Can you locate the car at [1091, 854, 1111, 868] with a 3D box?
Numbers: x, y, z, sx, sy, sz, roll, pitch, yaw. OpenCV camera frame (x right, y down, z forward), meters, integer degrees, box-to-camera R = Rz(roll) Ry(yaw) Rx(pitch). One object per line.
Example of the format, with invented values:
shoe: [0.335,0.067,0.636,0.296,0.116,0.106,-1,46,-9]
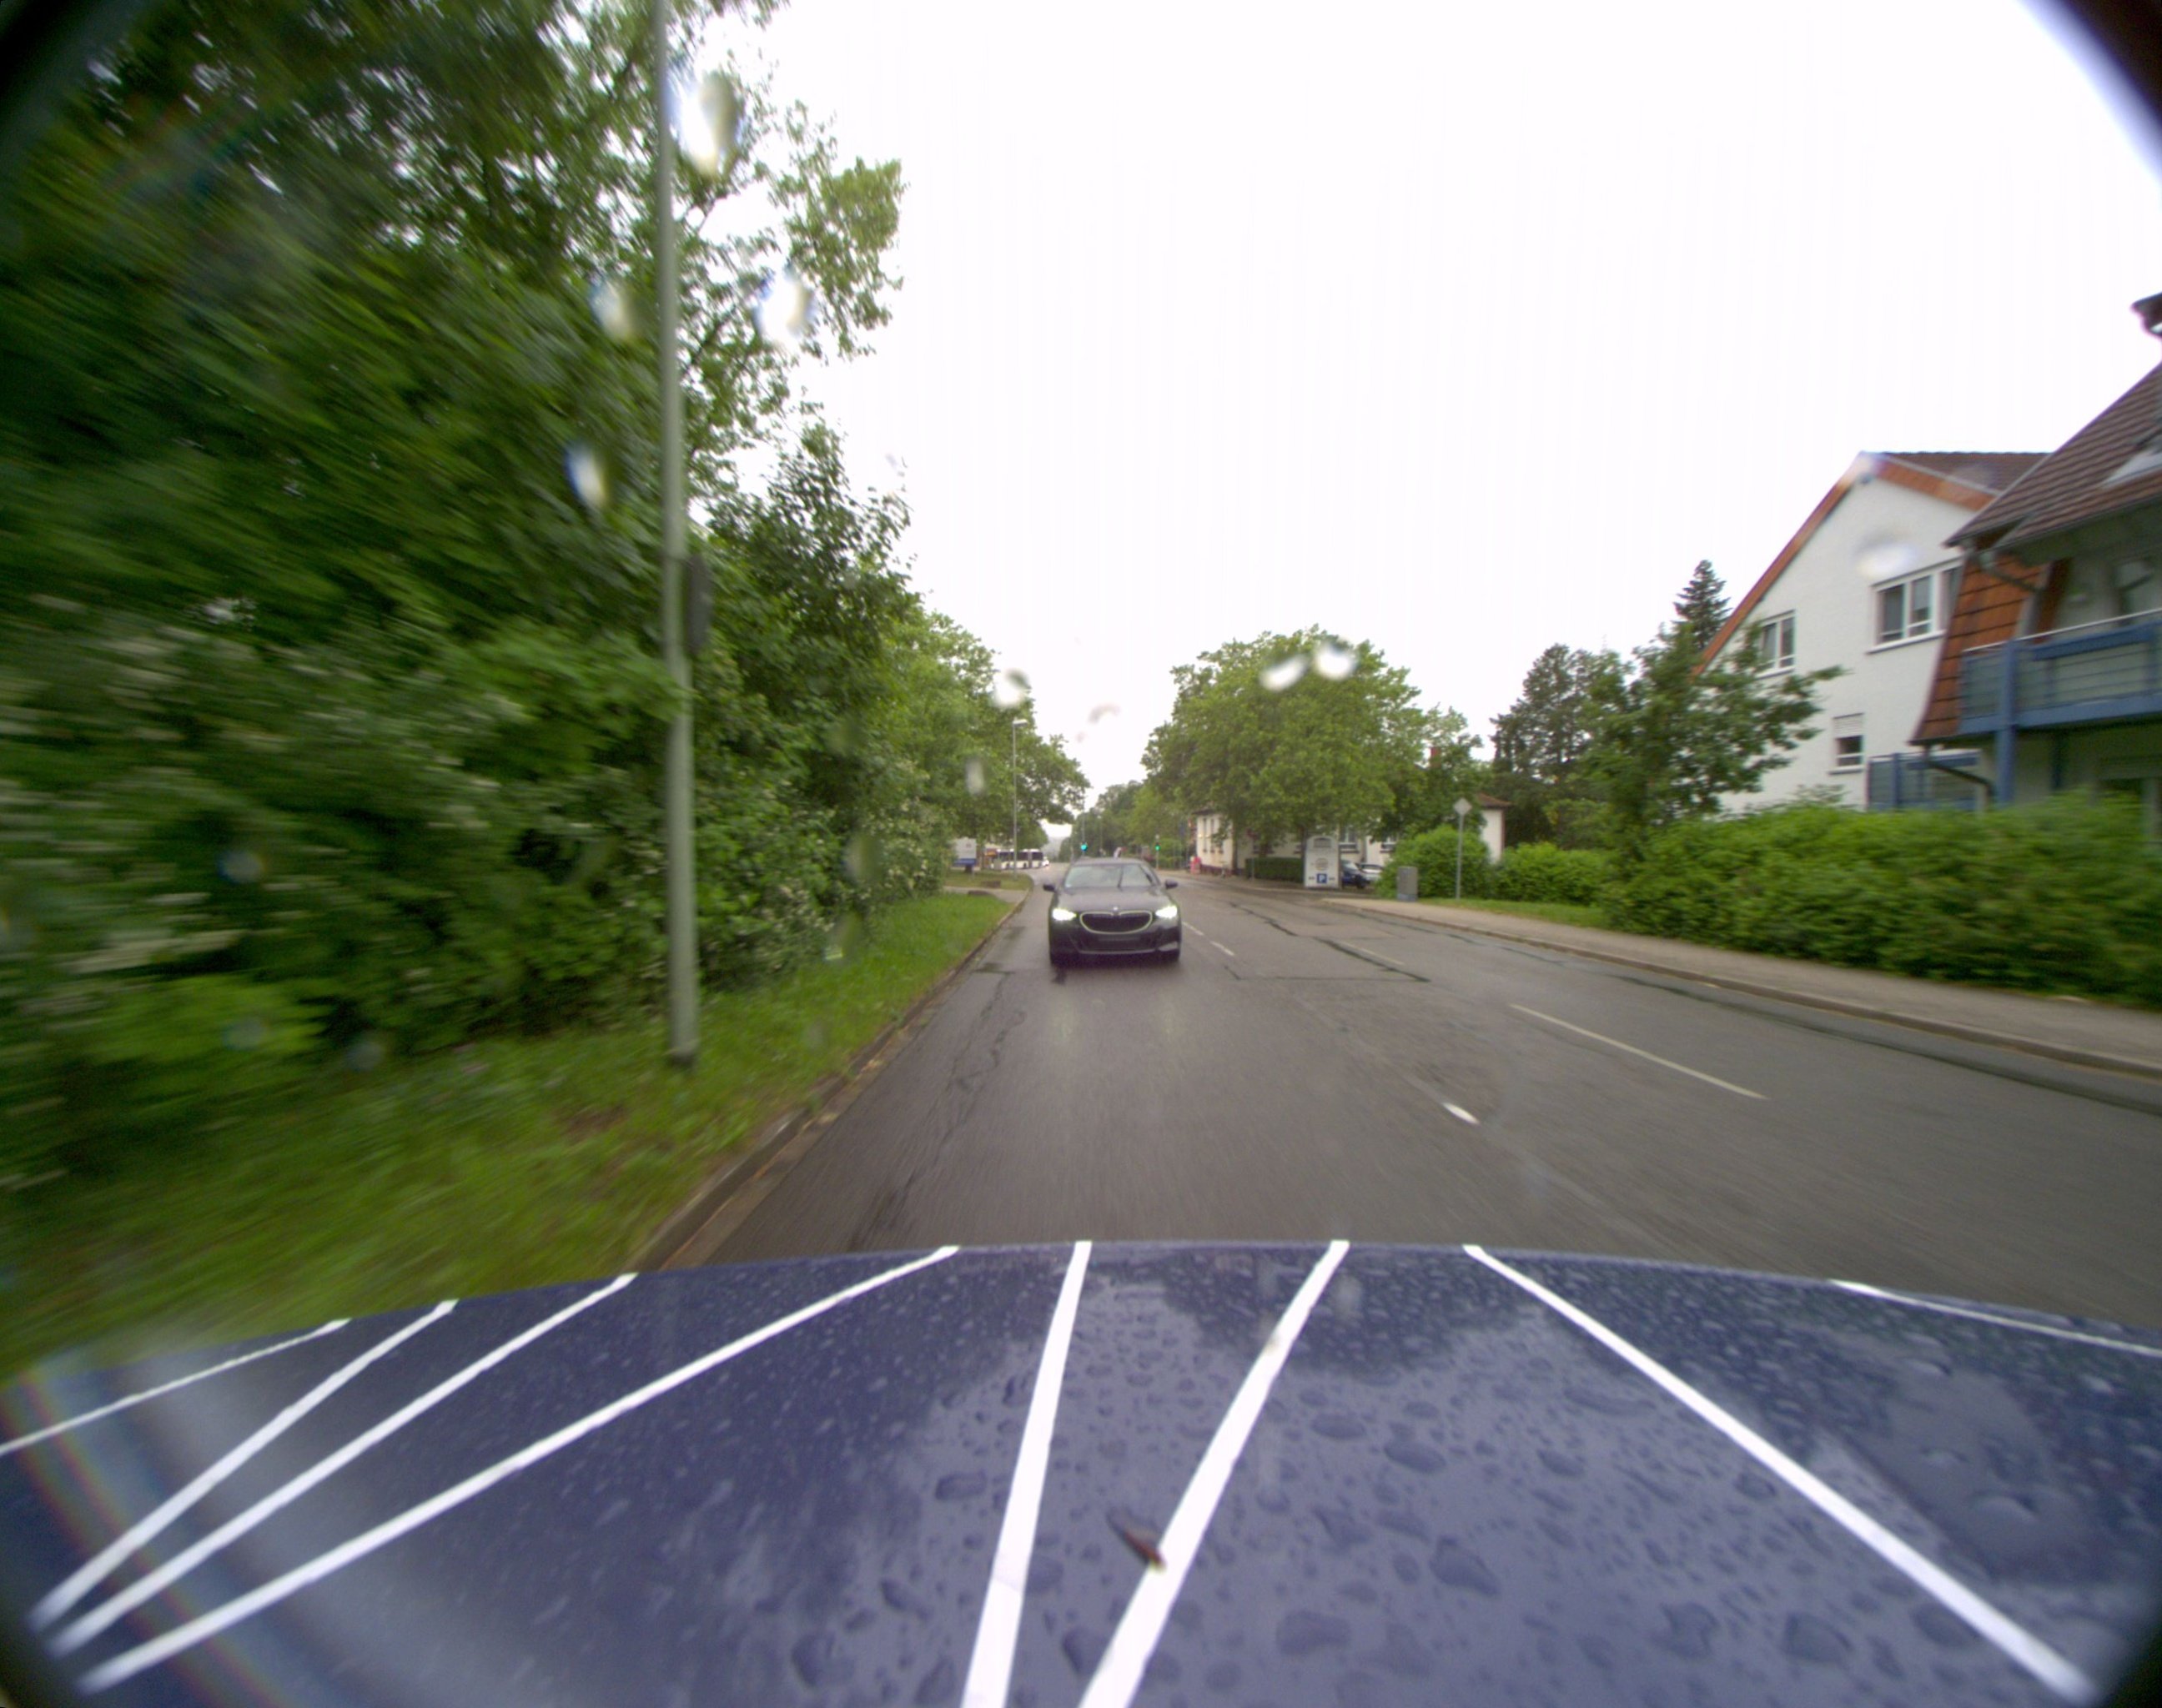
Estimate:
car: [2.389,0.890,90.763,1.999,1.420,4.388,5,-2,-2]

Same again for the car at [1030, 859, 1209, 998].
car: [0.337,0.903,11.196,1.999,1.586,4.145,-2,0,-6]

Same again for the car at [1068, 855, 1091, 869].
car: [-0.167,1.011,97.760,2.001,1.652,4.298,1,0,-14]

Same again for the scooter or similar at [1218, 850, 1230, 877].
scooter or similar: [9.765,0.633,51.899,0.402,1.765,1.511,-1,1,-5]

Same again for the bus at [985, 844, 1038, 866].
bus: [-10.043,0.118,111.305,2.893,2.770,10.401,-2,1,25]

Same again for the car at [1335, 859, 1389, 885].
car: [18.280,1.147,49.627,1.756,1.433,4.283,4,1,-2]
